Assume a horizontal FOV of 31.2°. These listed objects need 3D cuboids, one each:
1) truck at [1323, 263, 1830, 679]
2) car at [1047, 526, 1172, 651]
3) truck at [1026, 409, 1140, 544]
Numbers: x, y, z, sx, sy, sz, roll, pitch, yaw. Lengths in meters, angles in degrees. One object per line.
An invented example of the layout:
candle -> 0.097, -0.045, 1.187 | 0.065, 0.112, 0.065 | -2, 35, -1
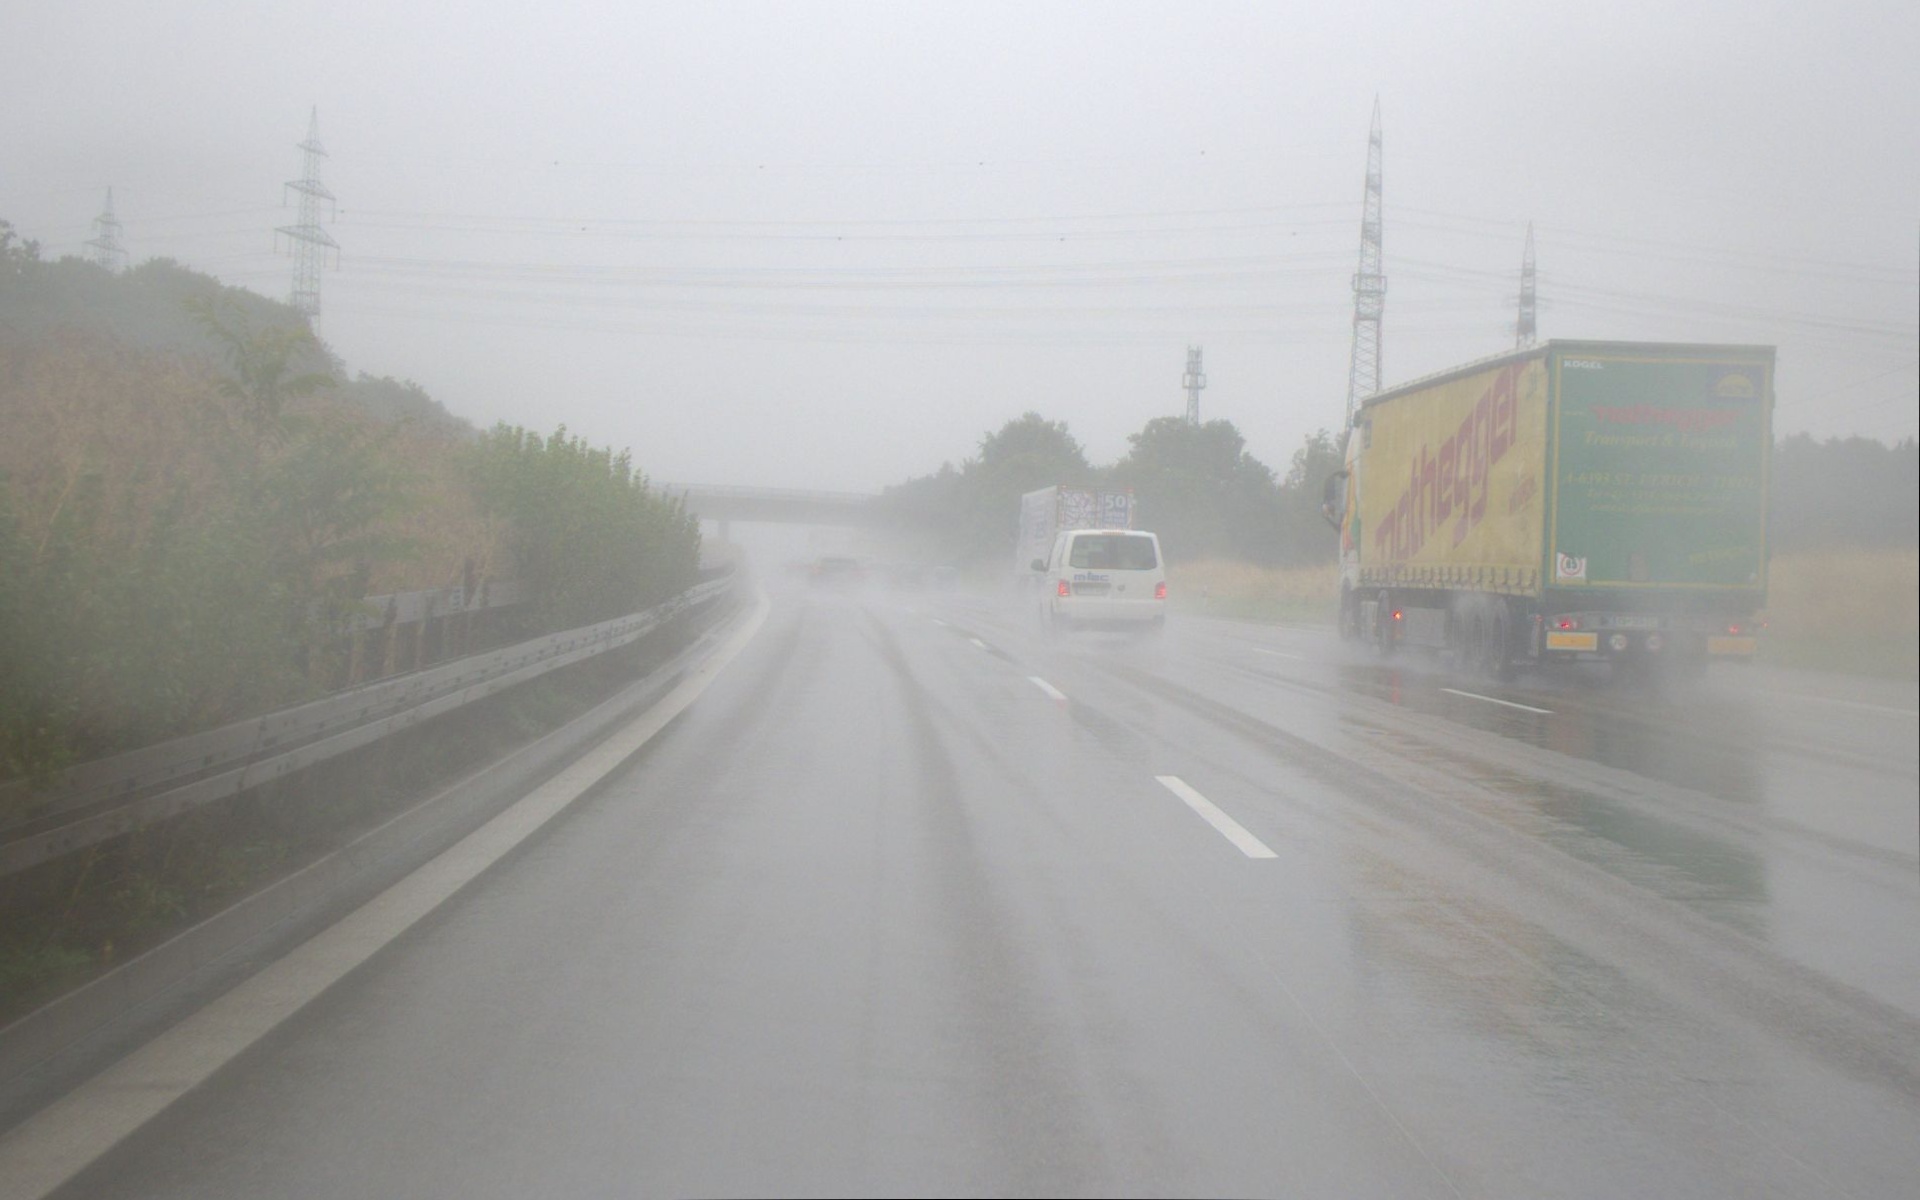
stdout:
truck -> 7.790, -1.584, 46.804 | 4.189, 4.614, 16.105 | 1, 1, 1
car -> 2.571, -0.231, 58.258 | 1.994, 2.007, 4.000 | 1, 1, 4
truck -> 4.038, -4.081, 114.760 | 3.232, 4.296, 8.838 | 1, 1, -1
